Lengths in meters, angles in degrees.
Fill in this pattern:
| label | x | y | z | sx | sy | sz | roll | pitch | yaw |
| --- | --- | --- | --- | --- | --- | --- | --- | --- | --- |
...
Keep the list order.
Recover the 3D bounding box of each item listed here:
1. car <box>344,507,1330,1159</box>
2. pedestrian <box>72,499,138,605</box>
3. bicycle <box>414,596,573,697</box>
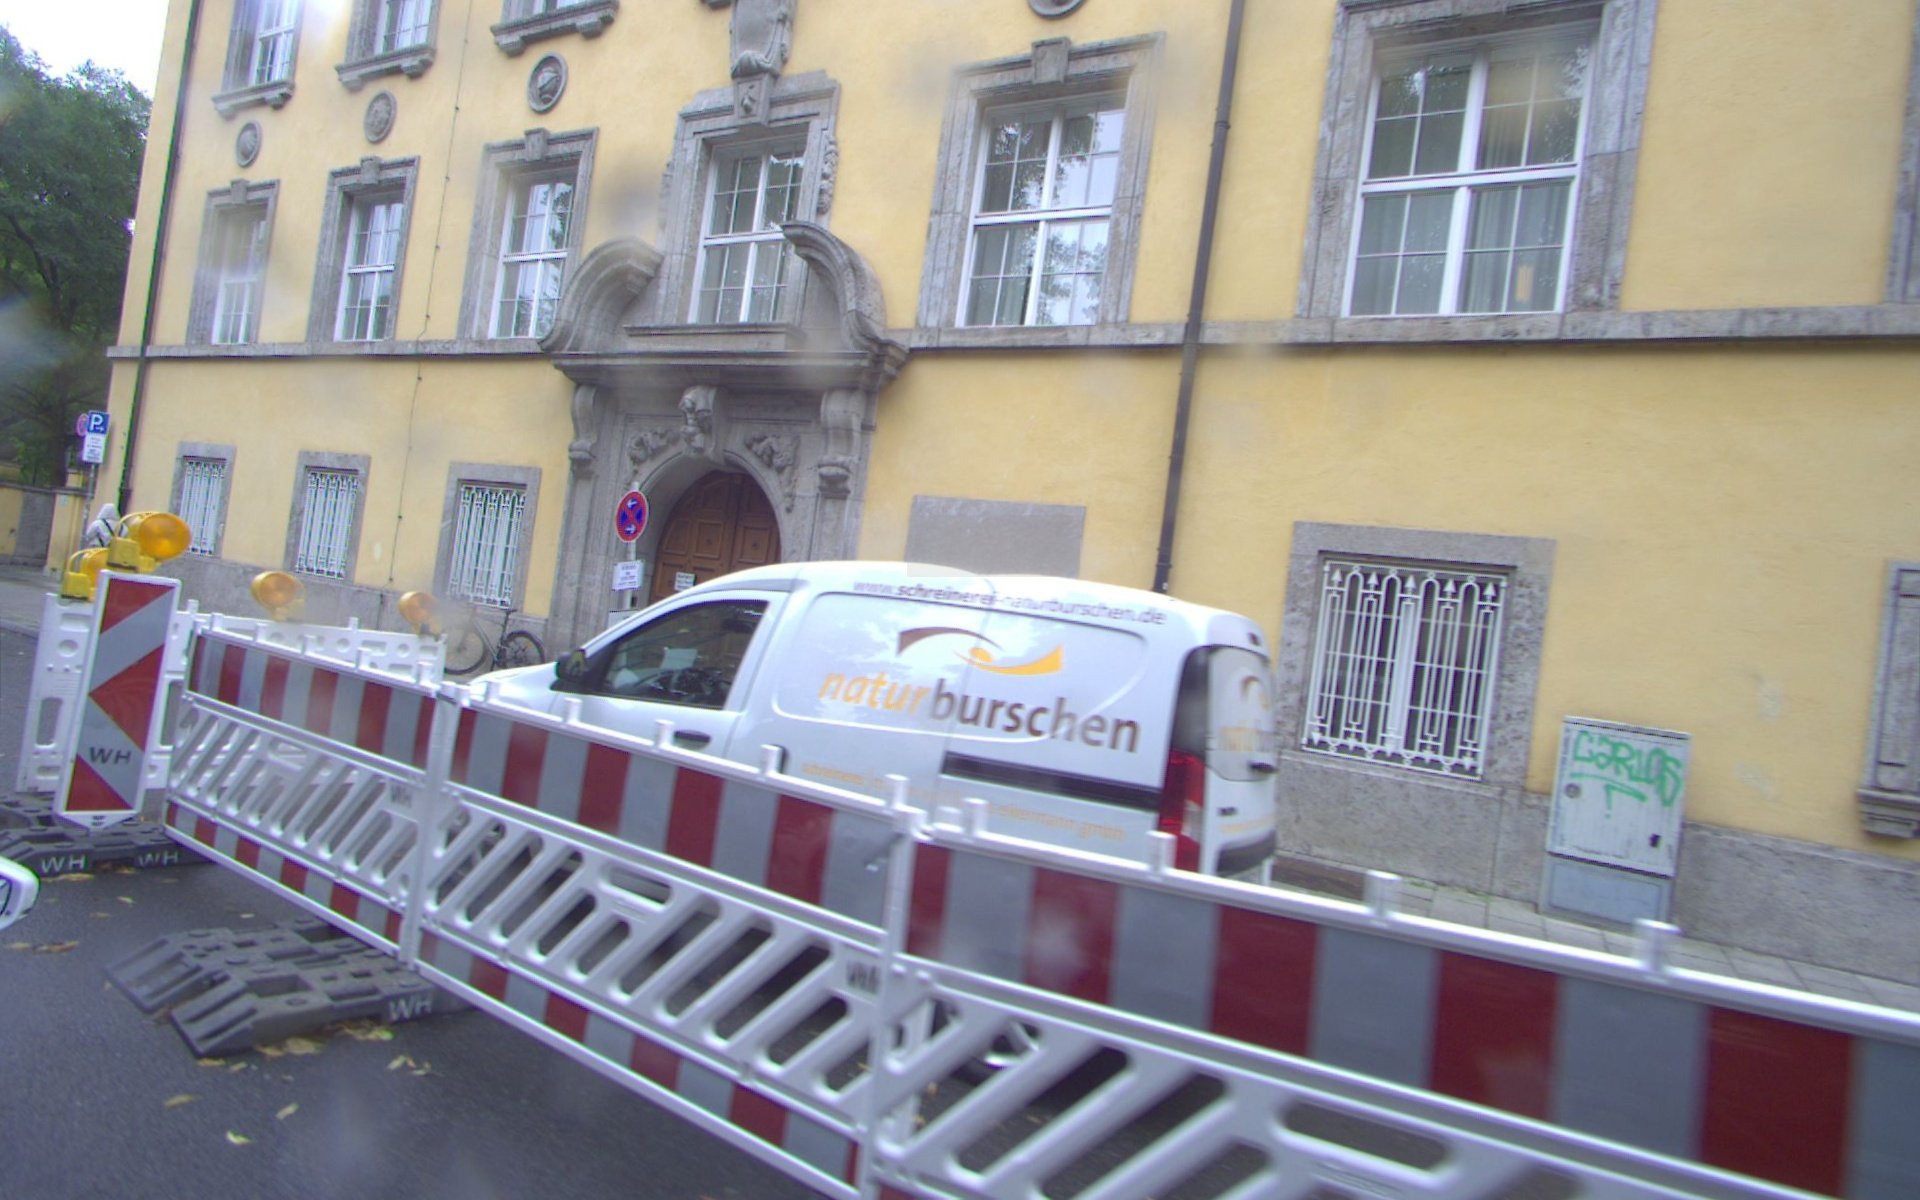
| label | x | y | z | sx | sy | sz | roll | pitch | yaw |
| --- | --- | --- | --- | --- | --- | --- | --- | --- | --- |
| car | -0.686 | 0.689 | 4.800 | 4.280 | 1.770 | 1.744 | 6 | -2 | 28 |
| pedestrian | -14.153 | -0.794 | 16.656 | 0.561 | 1.658 | 0.561 | 7 | 1 | 28 |
| bicycle | -5.974 | 0.585 | 12.847 | 2.022 | 1.018 | 0.682 | 6 | -1 | 29 |
